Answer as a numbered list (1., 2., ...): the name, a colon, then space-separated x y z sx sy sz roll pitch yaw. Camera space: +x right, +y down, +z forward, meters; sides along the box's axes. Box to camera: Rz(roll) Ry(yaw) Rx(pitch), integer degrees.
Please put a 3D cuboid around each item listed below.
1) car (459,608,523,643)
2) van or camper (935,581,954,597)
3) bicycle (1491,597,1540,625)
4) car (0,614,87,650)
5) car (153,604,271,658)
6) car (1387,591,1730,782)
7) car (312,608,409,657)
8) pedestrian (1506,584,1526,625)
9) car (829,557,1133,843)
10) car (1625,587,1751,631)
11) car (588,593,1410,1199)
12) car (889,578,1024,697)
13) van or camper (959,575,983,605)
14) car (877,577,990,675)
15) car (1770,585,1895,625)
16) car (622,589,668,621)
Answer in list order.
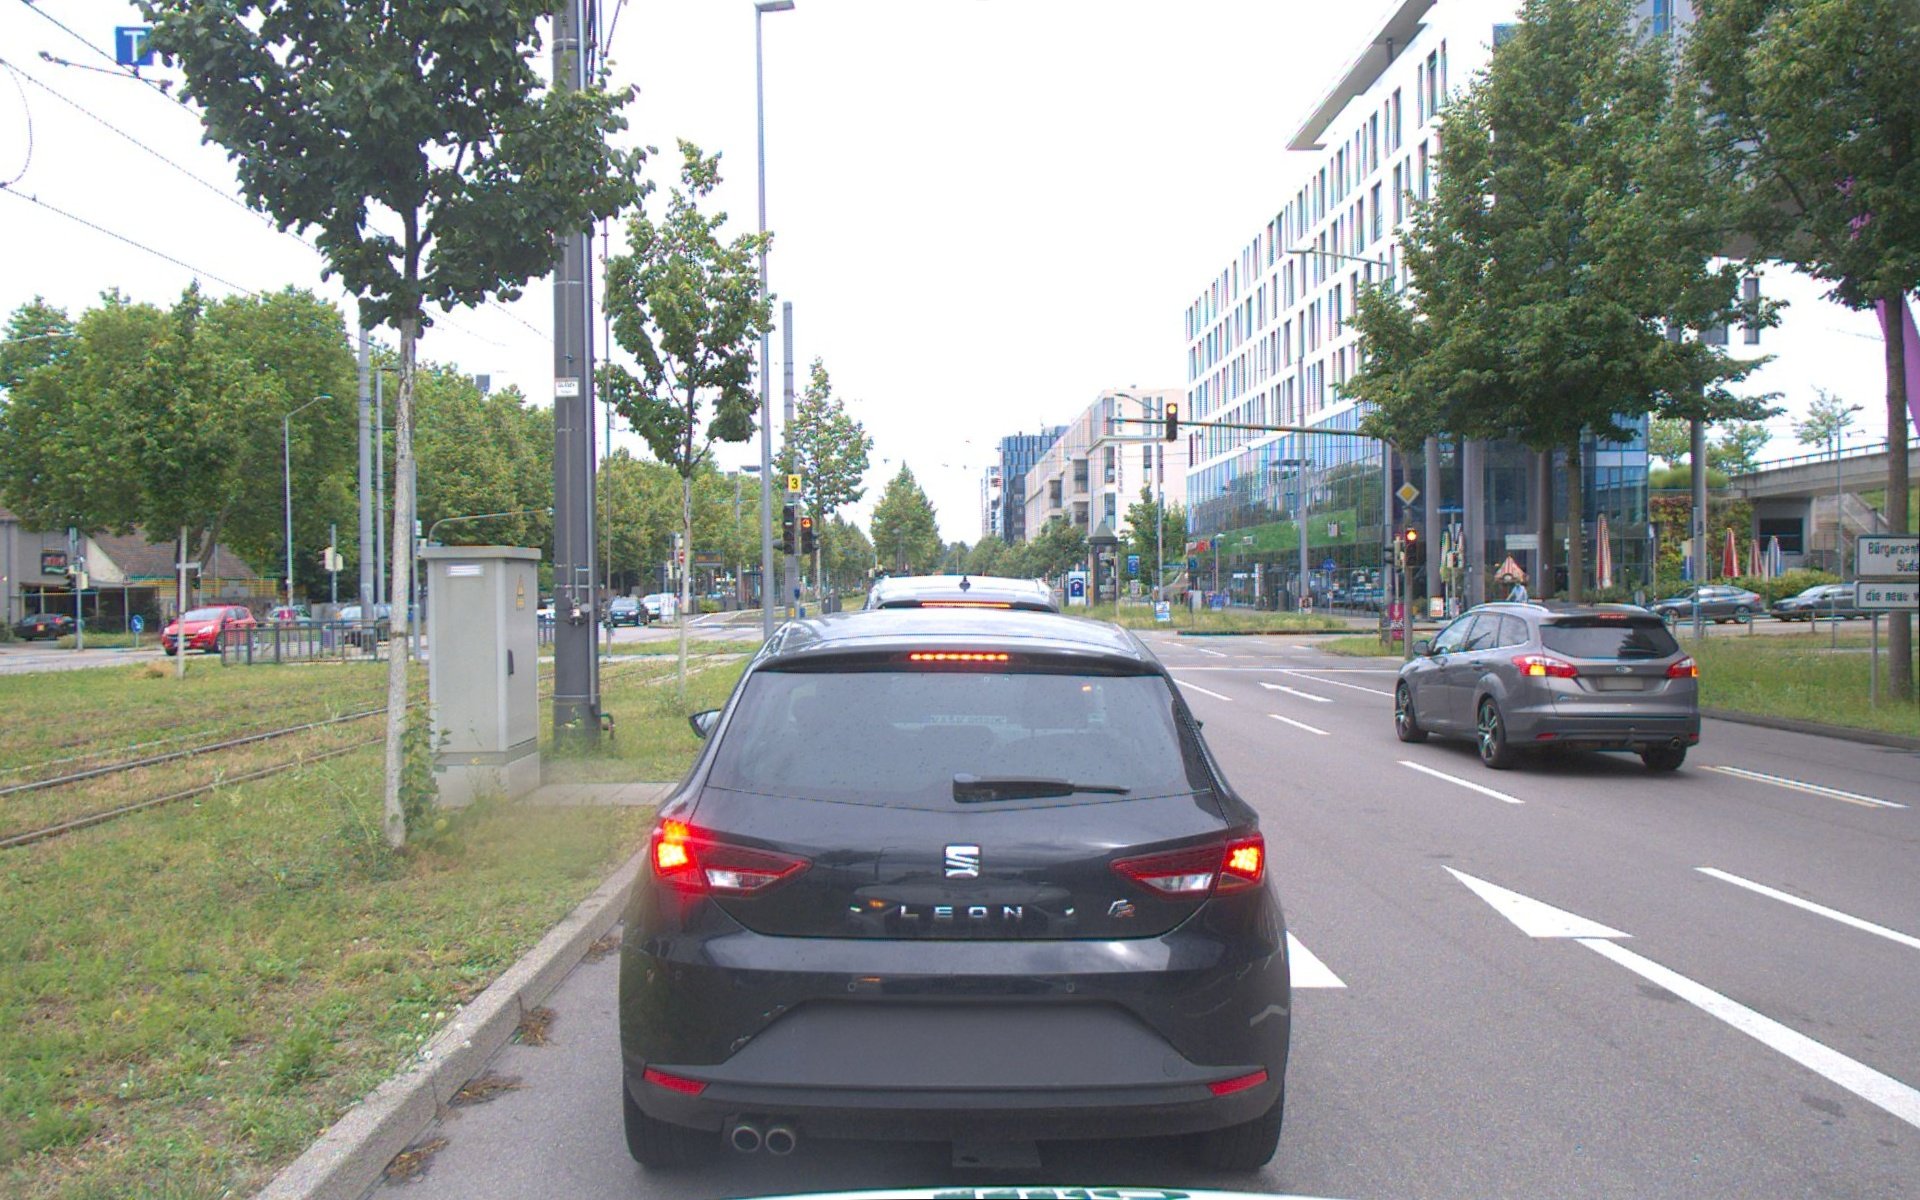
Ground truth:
1. car: -20.566 1.099 72.680 1.765 1.401 4.056 -1 0 -2
2. van or camper: -1.625 -1.179 173.194 1.953 1.643 4.789 0 2 0
3. bicycle: 22.370 0.449 66.628 1.755 1.104 0.618 -1 0 1
4. car: -50.476 1.745 90.625 4.190 1.847 2.108 -1 0 3
5. car: -23.795 0.955 52.788 1.759 1.598 4.328 -1 1 0
6. car: 5.608 0.720 16.095 1.712 1.525 4.268 0 1 -1
7. car: -20.176 1.051 55.831 1.630 1.451 4.744 -2 1 -2
8. pedestrian: 22.388 0.180 66.624 0.602 1.632 0.619 -1 0 1
9. car: 0.096 0.571 11.687 1.766 1.653 3.999 -1 0 -1
10. car: 28.513 0.347 64.878 4.163 1.643 1.758 -1 0 1
11. car: 0.032 0.720 5.461 1.708 1.442 3.999 1 0 -2
12. car: 0.024 0.526 26.071 1.952 1.711 4.001 1 1 2
13. van or camper: 0.923 -0.846 141.830 2.066 2.397 4.923 0 2 0
14. car: -0.434 0.437 31.125 1.952 1.711 4.001 1 1 1
15. car: 34.421 0.194 65.287 3.996 1.480 1.758 -1 0 1
16. car: -18.122 0.258 95.300 1.953 1.780 4.199 -1 0 -2
